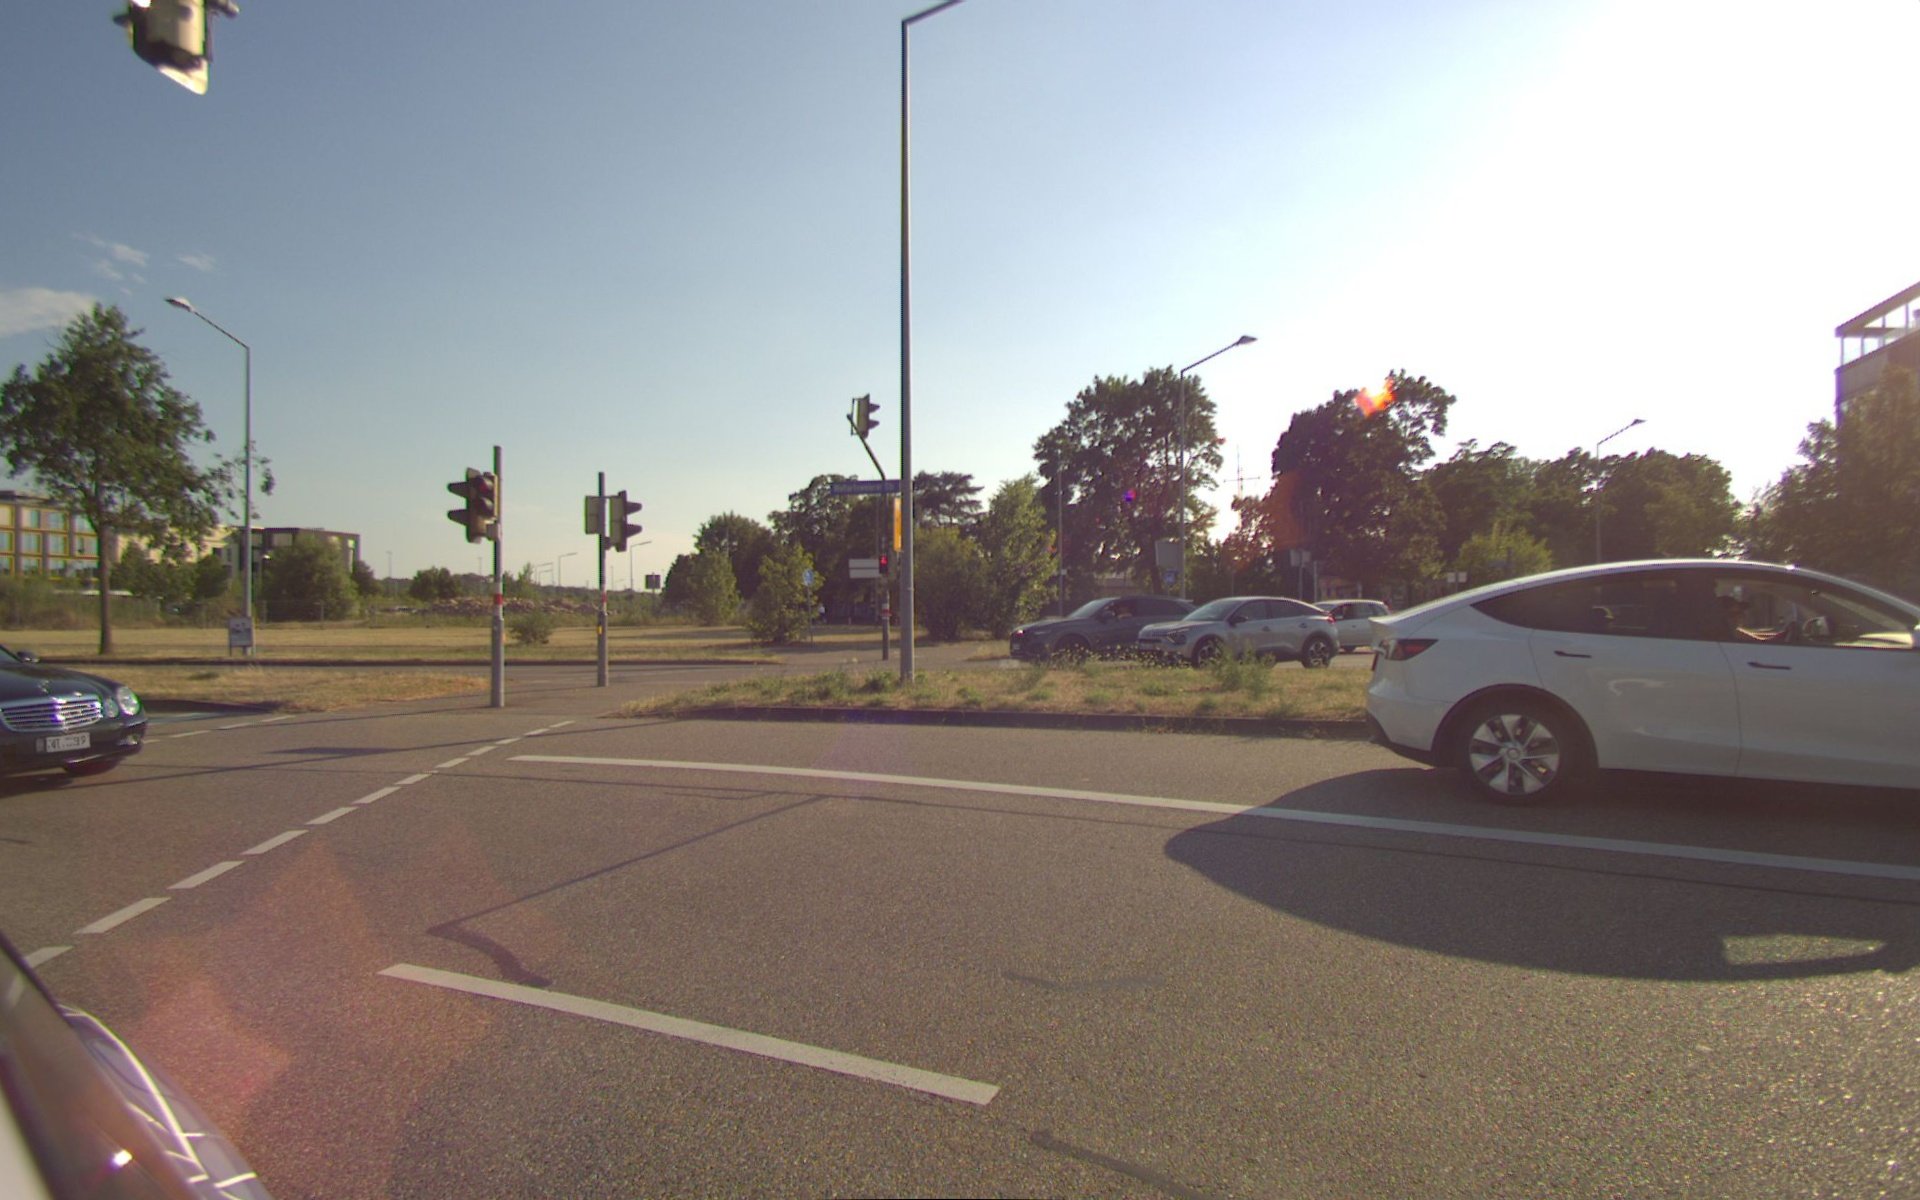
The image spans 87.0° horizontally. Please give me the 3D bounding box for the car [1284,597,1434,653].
[{"bbox_3d":[11.703,0.712,29.741,3.876,1.537,1.661,0,-1,-16],"label":"car"}]

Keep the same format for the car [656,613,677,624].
[{"bbox_3d":[-33.646,2.120,115.957,1.315,1.301,2.810,0,-1,-38],"label":"car"}]

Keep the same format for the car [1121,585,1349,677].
[{"bbox_3d":[5.468,0.572,20.152,4.127,1.686,1.782,0,-1,-23],"label":"car"}]

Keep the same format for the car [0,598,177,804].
[{"bbox_3d":[-8.936,0.748,8.144,4.450,1.447,1.803,-1,1,14],"label":"car"}]

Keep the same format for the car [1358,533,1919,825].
[{"bbox_3d":[5.175,0.423,6.611,4.654,1.611,1.725,0,1,27],"label":"car"}]

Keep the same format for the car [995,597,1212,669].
[{"bbox_3d":[3.231,0.726,22.961,4.565,1.524,1.658,0,-2,-16],"label":"car"}]
